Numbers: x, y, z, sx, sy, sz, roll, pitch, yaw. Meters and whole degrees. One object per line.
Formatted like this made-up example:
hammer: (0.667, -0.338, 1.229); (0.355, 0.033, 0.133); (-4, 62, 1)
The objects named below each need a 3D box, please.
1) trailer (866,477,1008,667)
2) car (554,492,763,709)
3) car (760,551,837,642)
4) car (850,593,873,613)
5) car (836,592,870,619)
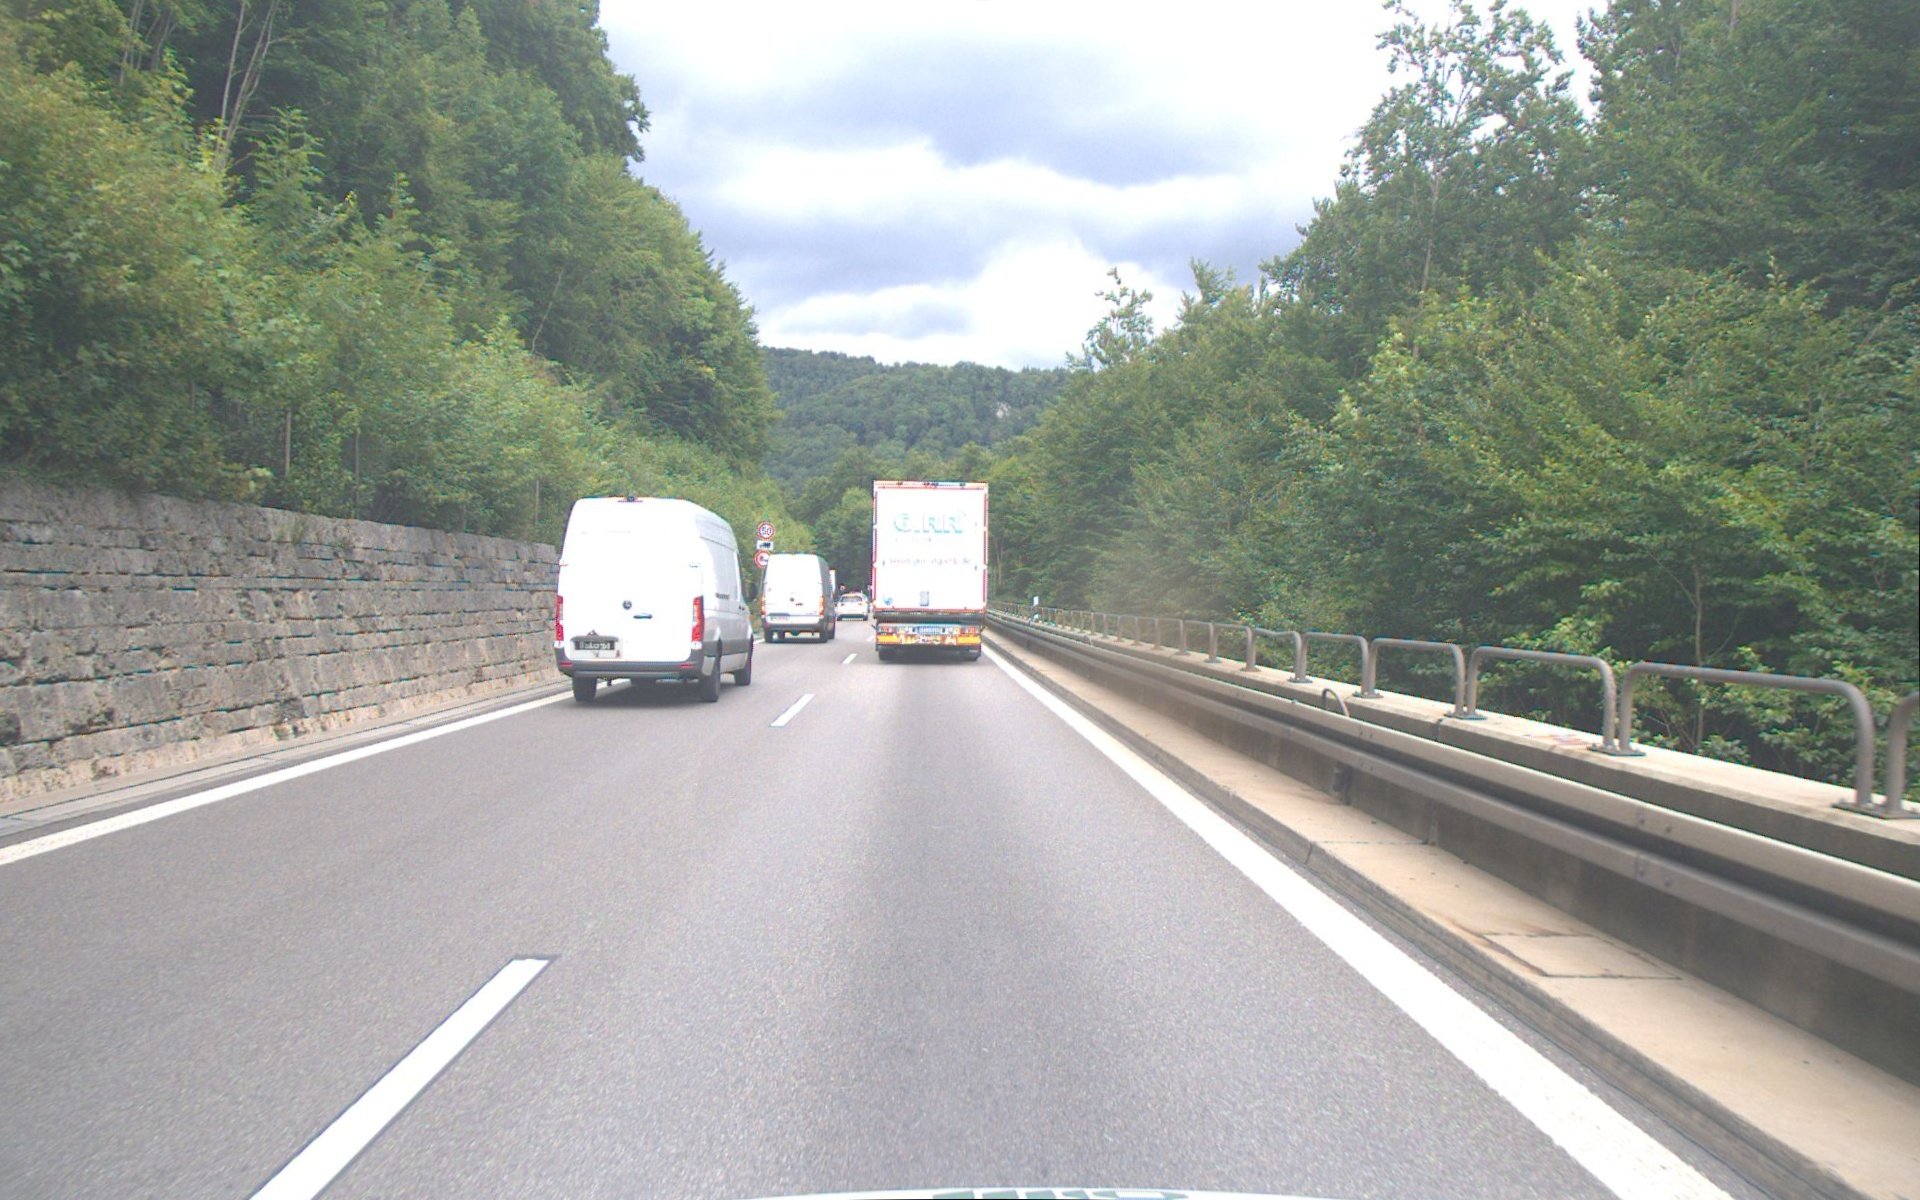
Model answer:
trailer: (-0.635, -0.764, 42.006); (2.995, 4.055, 12.134); (1, 1, -1)
car: (-4.214, -0.015, 24.330); (1.949, 2.719, 6.934); (1, 0, -1)
car: (-5.057, -0.120, 52.559); (1.900, 2.719, 5.990); (1, 0, -1)
car: (-7.663, 0.227, 128.445); (1.697, 1.446, 3.998); (1, 0, -3)
car: (-6.088, 0.312, 94.490); (1.697, 1.446, 3.999); (1, 0, -1)
